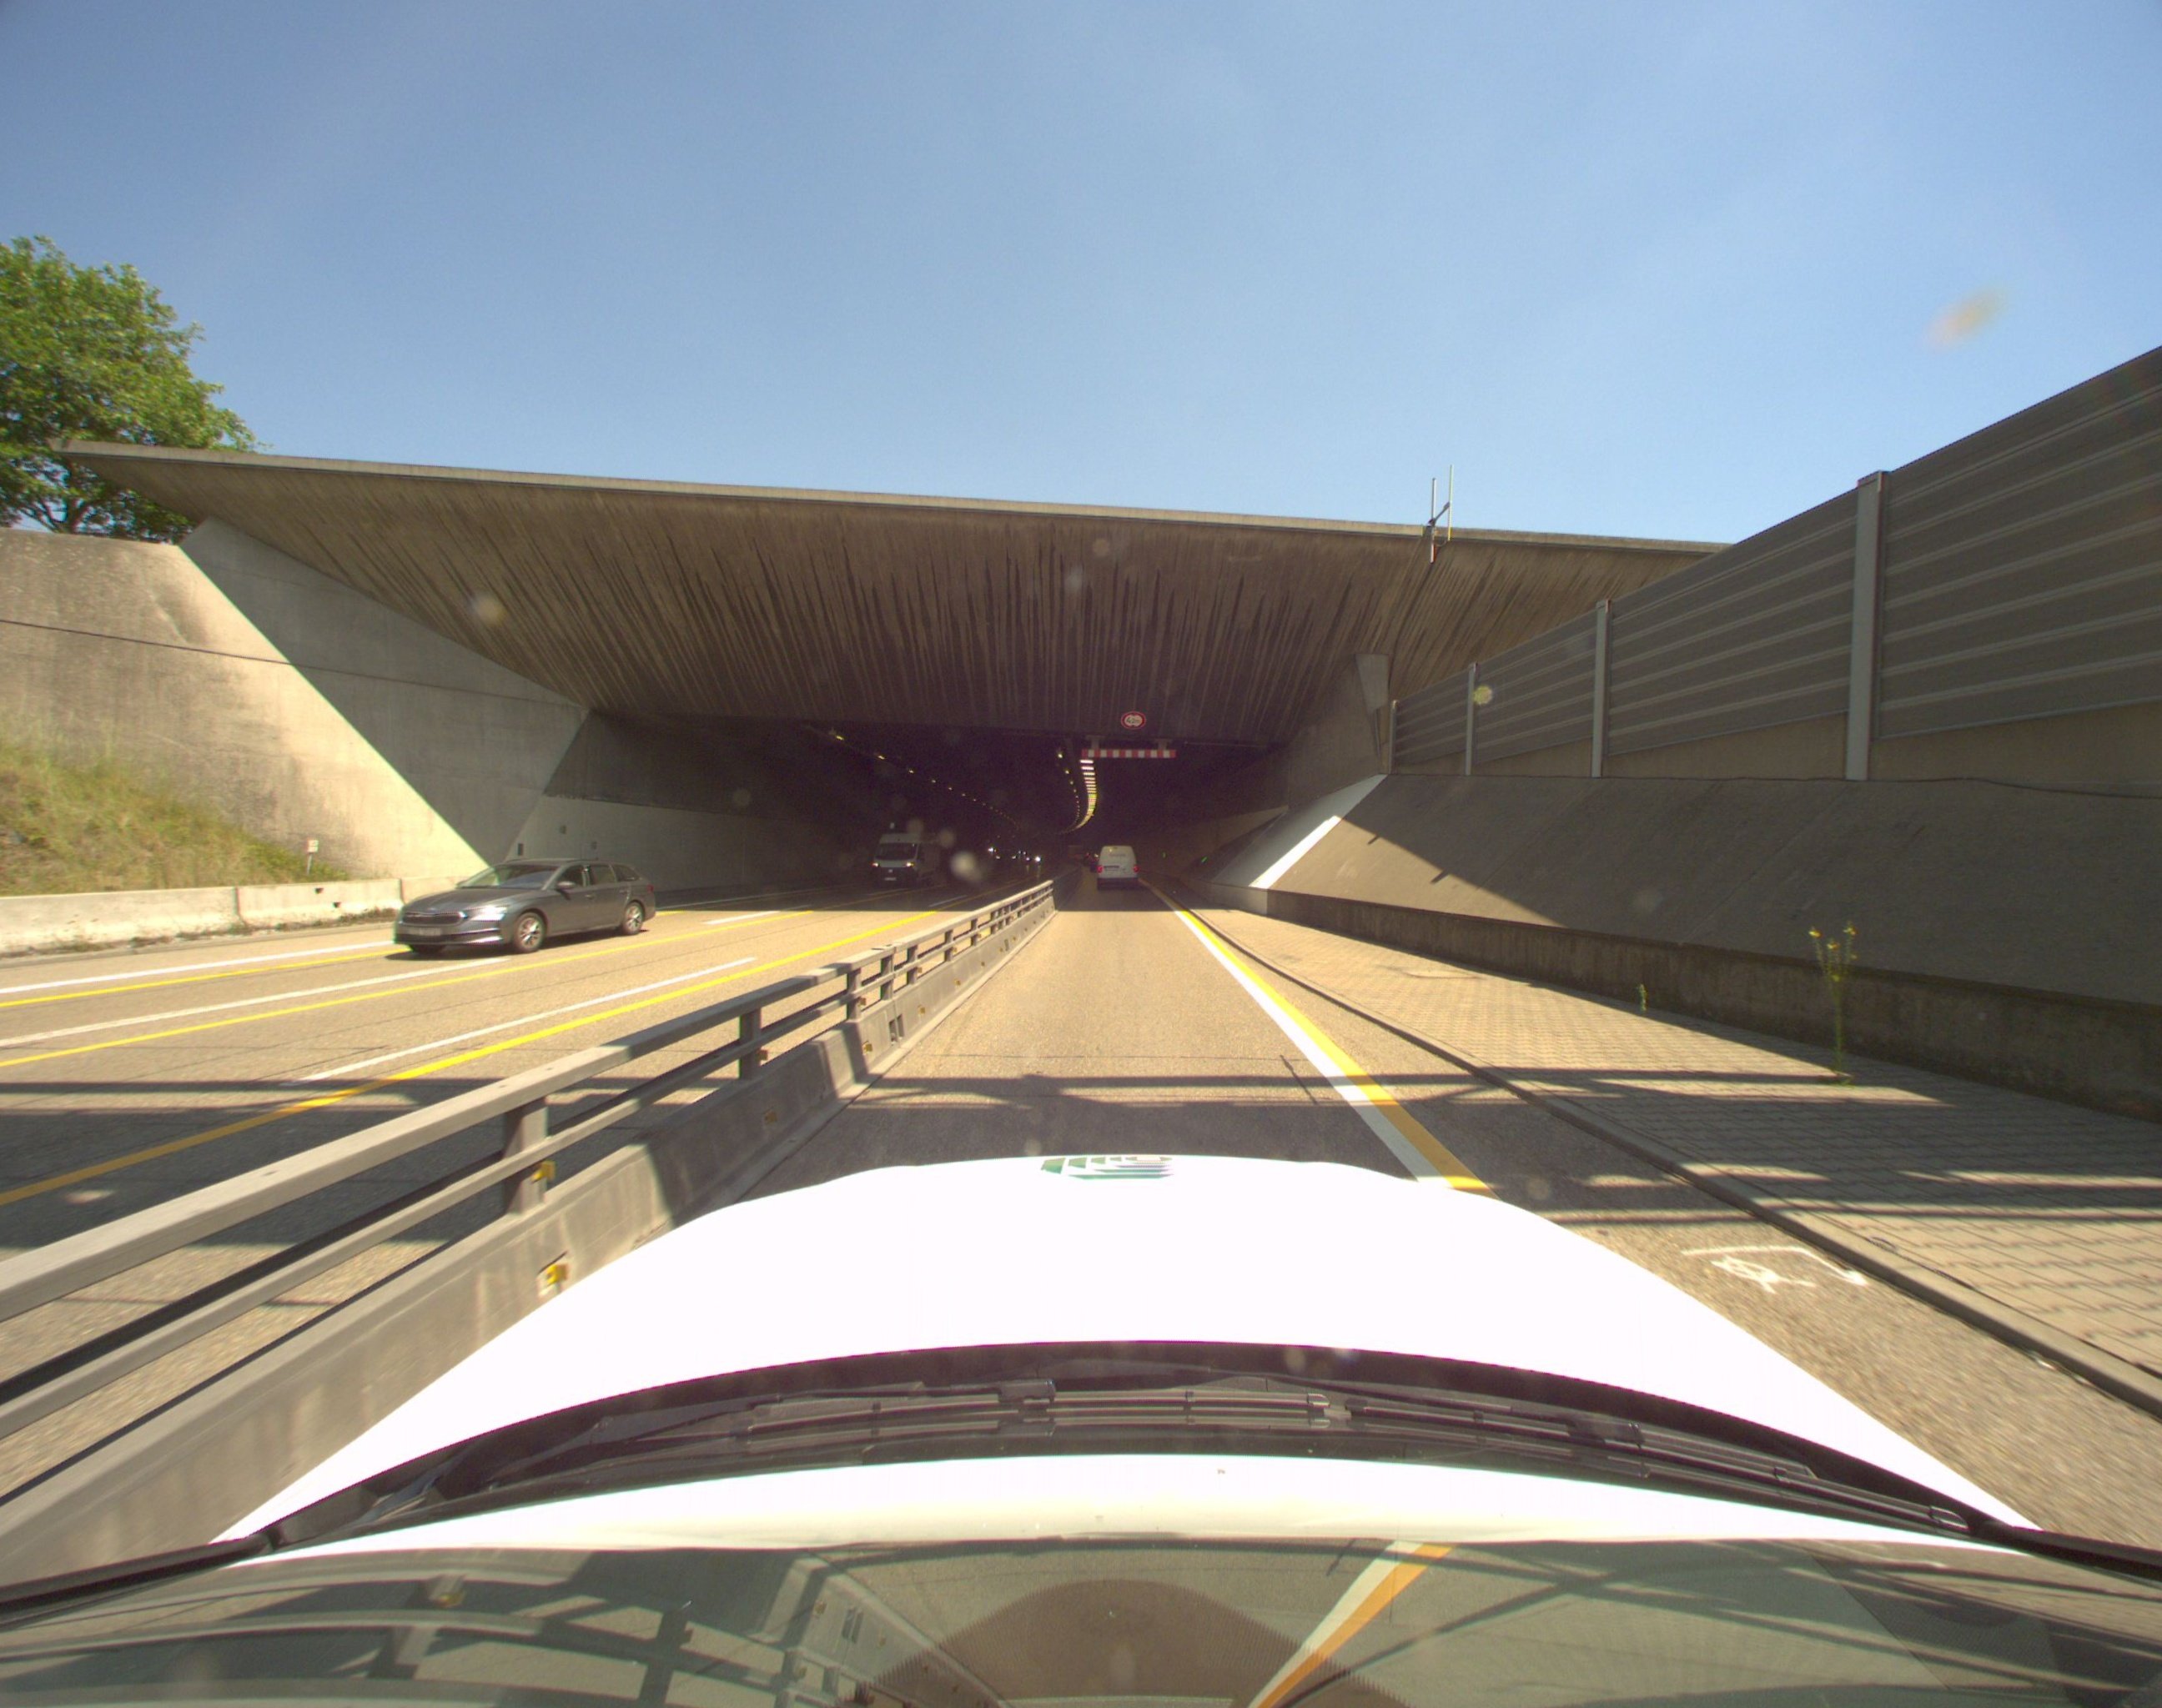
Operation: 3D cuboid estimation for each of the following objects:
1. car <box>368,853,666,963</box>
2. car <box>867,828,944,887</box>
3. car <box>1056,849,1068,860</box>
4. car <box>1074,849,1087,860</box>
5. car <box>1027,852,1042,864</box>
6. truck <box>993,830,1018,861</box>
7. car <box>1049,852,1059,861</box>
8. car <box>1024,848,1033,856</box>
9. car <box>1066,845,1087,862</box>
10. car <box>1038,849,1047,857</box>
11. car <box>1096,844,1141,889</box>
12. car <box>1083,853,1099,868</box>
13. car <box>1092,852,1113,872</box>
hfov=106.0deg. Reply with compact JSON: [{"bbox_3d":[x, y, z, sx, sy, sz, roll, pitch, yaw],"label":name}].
[{"bbox_3d":[-9.261,0.776,13.974,1.766,1.515,4.567,-1,0,2],"label":"car"},{"bbox_3d":[-8.053,0.139,38.037,1.985,2.515,6.046,-1,0,3],"label":"car"},{"bbox_3d":[-4.045,0.081,168.501,2.032,2.021,4.622,4,0,-6],"label":"car"},{"bbox_3d":[-0.142,0.061,113.665,1.595,1.546,3.673,-1,0,-4],"label":"car"},{"bbox_3d":[-5.775,0.450,101.170,1.817,1.456,4.088,-1,0,-3],"label":"car"},{"bbox_3d":[-9.635,-1.085,104.806,2.804,3.915,6.449,-1,0,-3],"label":"truck"},{"bbox_3d":[-6.070,0.514,183.788,1.938,2.021,4.649,0,0,-8],"label":"car"},{"bbox_3d":[-14.165,-0.606,219.417,1.926,1.848,4.347,-2,3,-10],"label":"car"},{"bbox_3d":[-0.712,-0.113,132.250,2.810,2.773,7.087,0,0,-6],"label":"car"},{"bbox_3d":[-10.145,-0.353,214.486,1.938,2.021,4.649,-1,0,-8],"label":"car"},{"bbox_3d":[1.552,0.517,34.860,1.802,1.794,3.731,1,0,1],"label":"car"},{"bbox_3d":[1.085,0.717,90.553,1.594,1.546,3.675,0,0,-1],"label":"car"},{"bbox_3d":[1.737,0.601,65.989,1.593,1.546,3.676,-1,0,-1],"label":"car"}]
